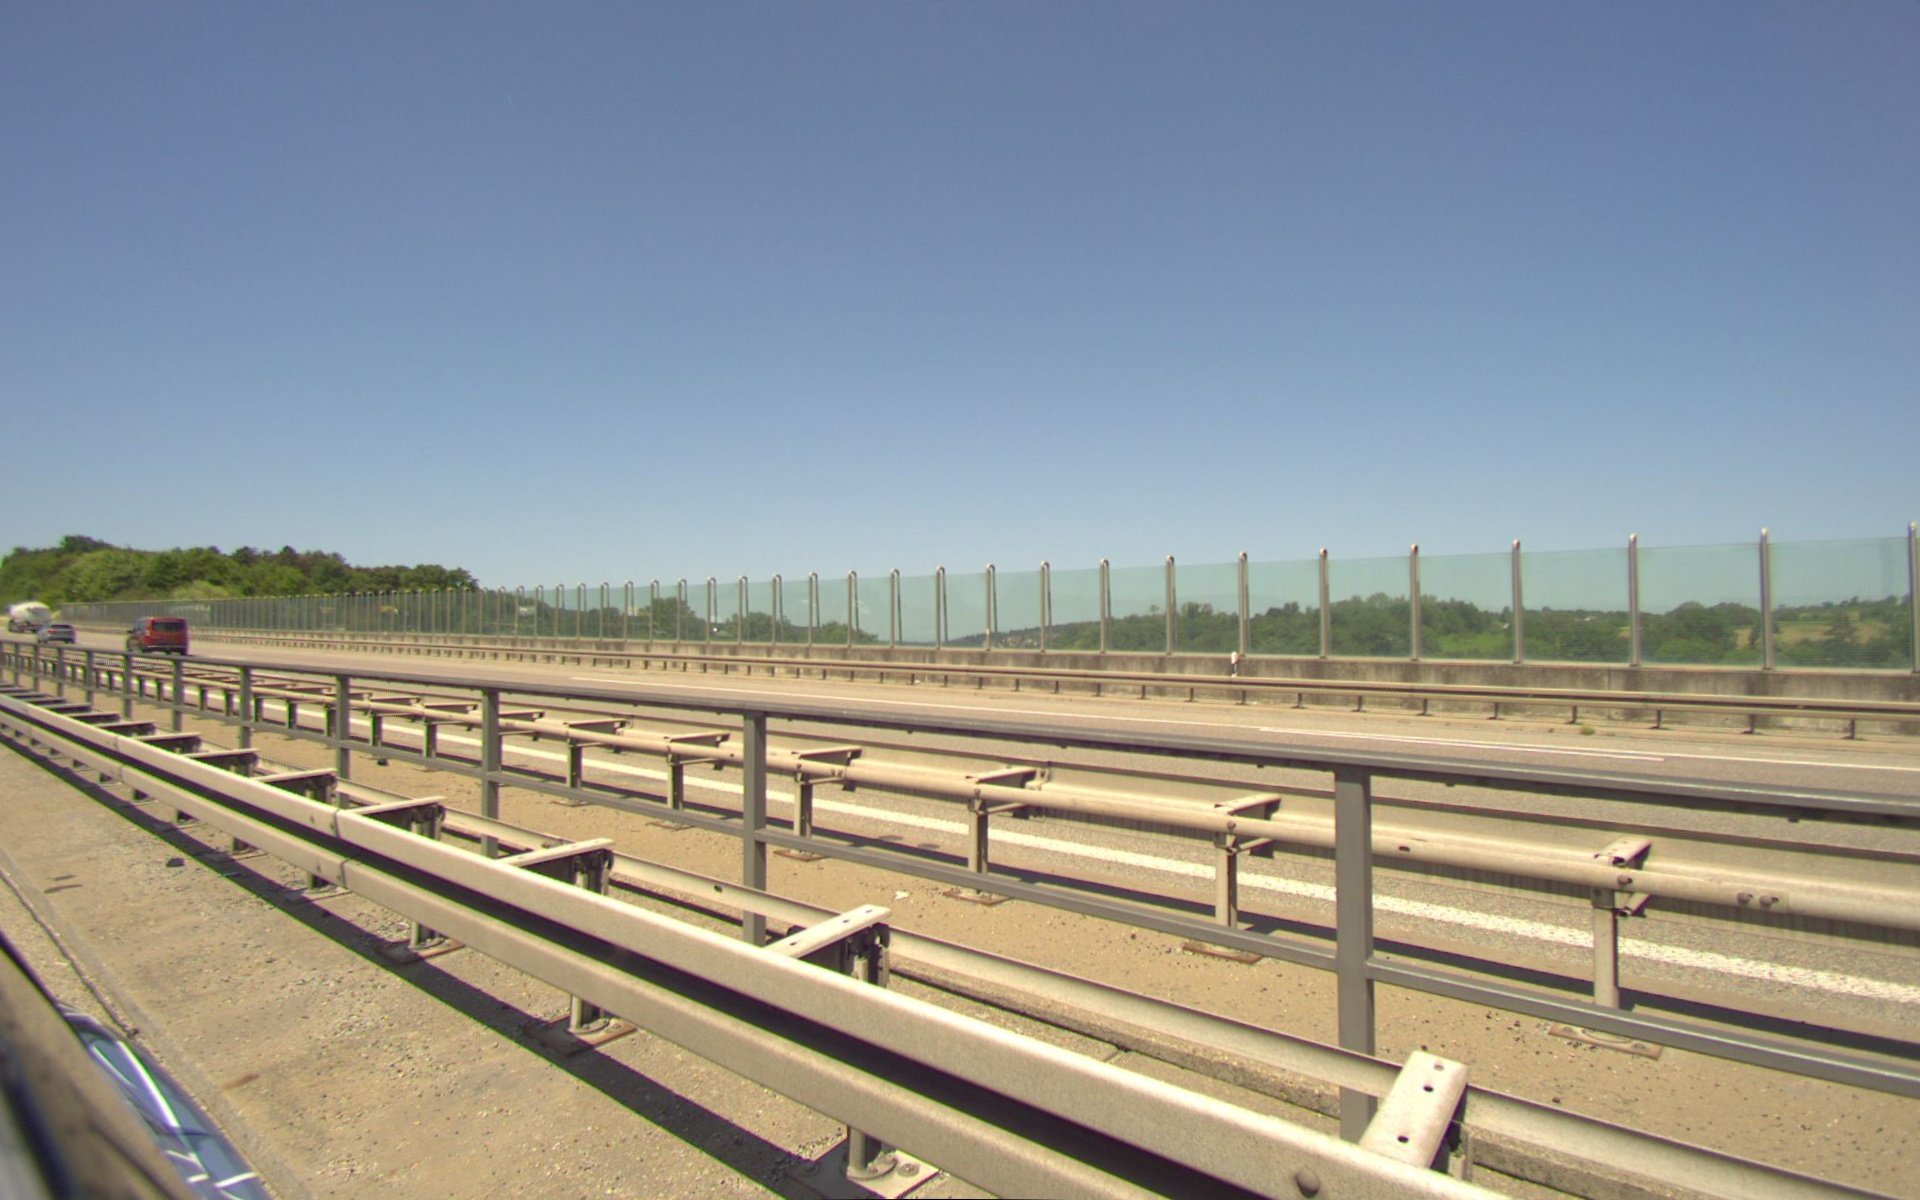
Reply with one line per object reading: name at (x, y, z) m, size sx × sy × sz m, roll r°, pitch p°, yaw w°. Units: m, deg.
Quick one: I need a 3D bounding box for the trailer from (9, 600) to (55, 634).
trailer at (-102.399, 1.898, 111.559) m, size 10.898 × 3.567 × 2.472 m, roll -1°, pitch -2°, yaw 41°

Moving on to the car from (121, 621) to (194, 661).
car at (-38.818, 1.950, 48.916) m, size 4.744 × 1.836 × 1.821 m, roll -1°, pitch -2°, yaw 40°

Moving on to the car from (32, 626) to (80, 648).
car at (-63.419, 2.614, 70.967) m, size 4.382 × 1.453 × 1.852 m, roll -1°, pitch -3°, yaw 40°

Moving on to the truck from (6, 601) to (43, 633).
truck at (-106.510, 1.949, 115.189) m, size 5.328 × 3.562 × 2.494 m, roll -1°, pitch -3°, yaw 41°
